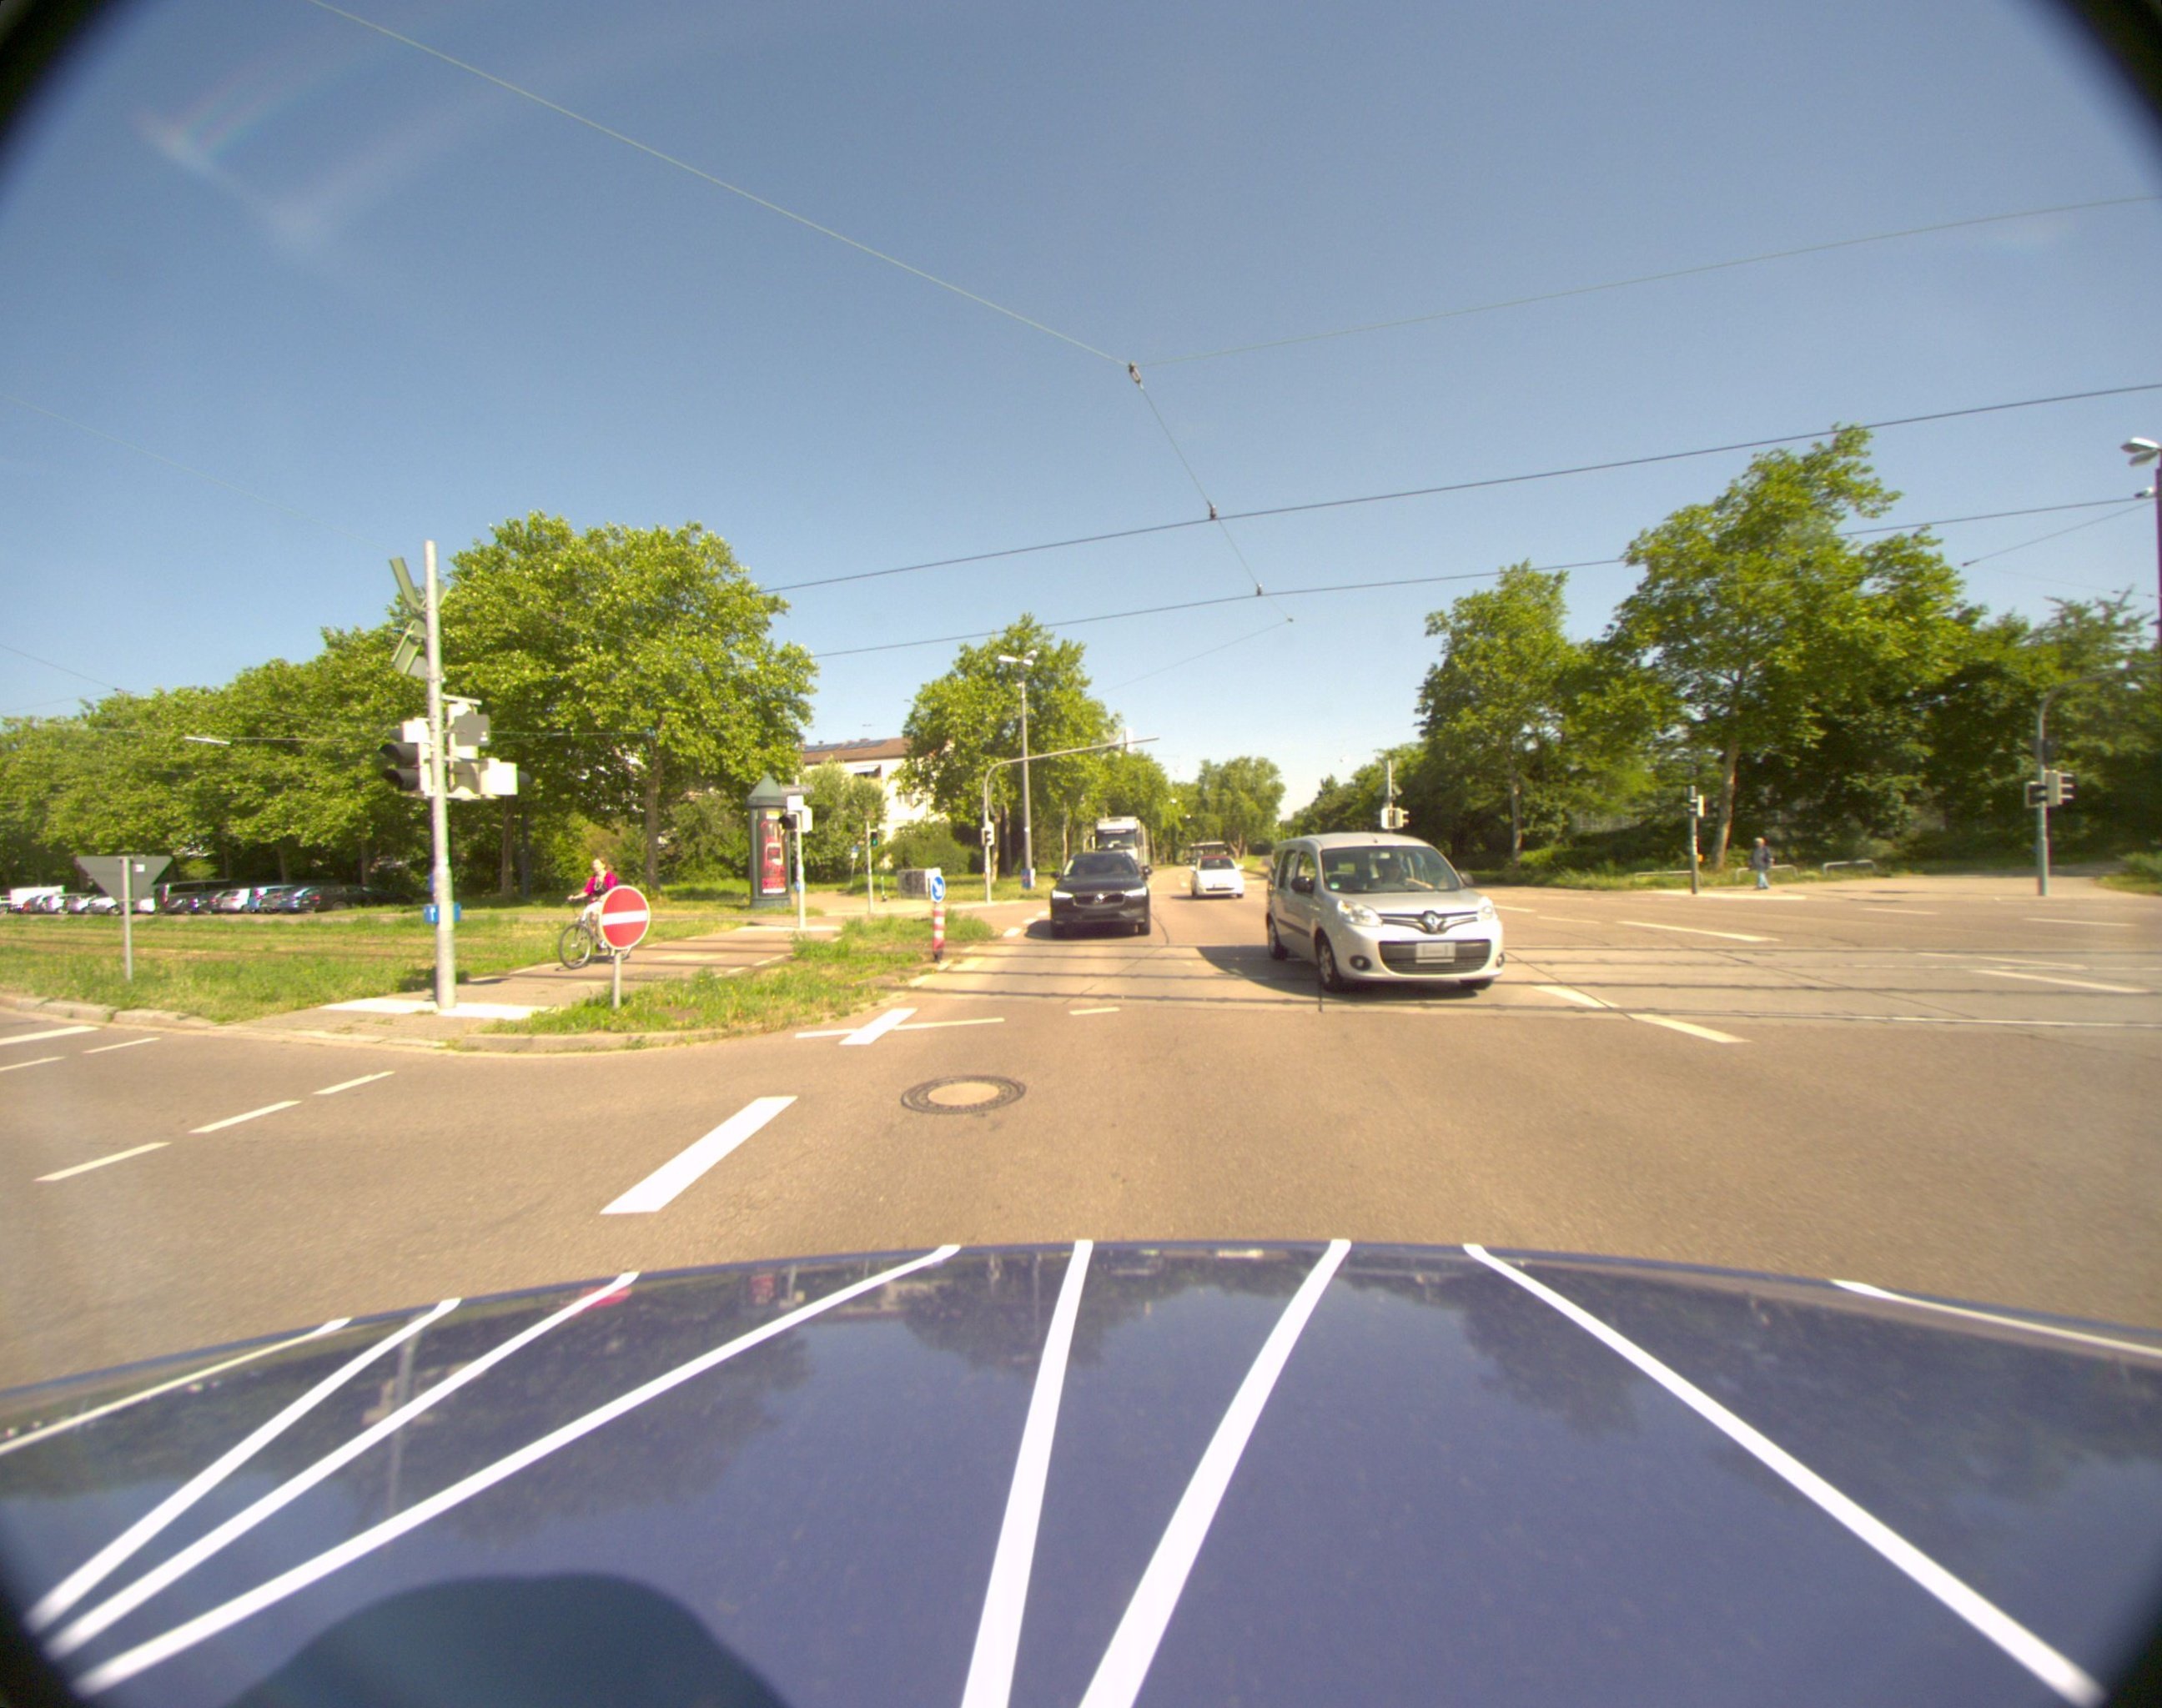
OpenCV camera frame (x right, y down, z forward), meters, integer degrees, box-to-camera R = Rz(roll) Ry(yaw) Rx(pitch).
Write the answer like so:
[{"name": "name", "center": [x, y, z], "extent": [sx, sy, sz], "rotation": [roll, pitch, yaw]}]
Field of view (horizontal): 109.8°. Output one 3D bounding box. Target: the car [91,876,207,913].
[{"name": "car", "center": [-64.579, 2.763, 52.778], "extent": [1.996, 2.196, 4.595], "rotation": [-2, 0, 17]}]

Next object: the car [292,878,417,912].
[{"name": "car", "center": [-38.683, 2.155, 40.621], "extent": [1.996, 1.482, 4.359], "rotation": [-2, 1, 17]}]

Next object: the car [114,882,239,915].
[{"name": "car", "center": [-54.329, 2.634, 45.771], "extent": [1.996, 1.623, 4.360], "rotation": [-2, 0, 17]}]

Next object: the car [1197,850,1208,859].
[{"name": "car", "center": [30.062, 0.168, 188.465], "extent": [1.996, 2.002, 4.005], "rotation": [-2, 0, 18]}]

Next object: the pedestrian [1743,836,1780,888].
[{"name": "pedestrian", "center": [20.553, 0.233, 22.961], "extent": [0.607, 1.525, 0.568], "rotation": [-2, 1, -1]}]

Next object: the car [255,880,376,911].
[{"name": "car", "center": [-43.612, 2.327, 43.421], "extent": [1.996, 1.482, 4.360], "rotation": [-2, 0, 17]}]

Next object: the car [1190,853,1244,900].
[{"name": "car", "center": [4.865, 0.745, 27.623], "extent": [1.688, 1.482, 4.377], "rotation": [-2, 0, 7]}]

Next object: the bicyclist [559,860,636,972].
[{"name": "bicyclist", "center": [-8.023, 1.007, 12.647], "extent": [0.702, 1.776, 0.810], "rotation": [-2, 1, -3]}]

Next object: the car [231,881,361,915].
[{"name": "car", "center": [-42.085, 2.341, 40.870], "extent": [1.996, 1.482, 4.360], "rotation": [-2, 0, 17]}]

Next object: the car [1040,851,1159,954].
[{"name": "car", "center": [0.370, 0.802, 15.078], "extent": [1.904, 1.606, 4.873], "rotation": [-3, 0, 2]}]

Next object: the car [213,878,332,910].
[{"name": "car", "center": [-48.206, 2.362, 45.440], "extent": [1.996, 1.623, 4.360], "rotation": [-2, 0, 17]}]

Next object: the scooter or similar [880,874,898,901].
[{"name": "scooter or similar", "center": [-8.820, 1.545, 34.883], "extent": [0.517, 1.135, 1.443], "rotation": [-4, 2, -22]}]

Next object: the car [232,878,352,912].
[{"name": "car", "center": [-46.123, 2.359, 44.558], "extent": [1.996, 1.623, 4.360], "rotation": [-3, 0, 17]}]

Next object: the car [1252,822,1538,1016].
[{"name": "car", "center": [3.514, 0.625, 9.503], "extent": [1.876, 1.829, 4.376], "rotation": [-2, 0, 2]}]

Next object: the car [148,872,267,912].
[{"name": "car", "center": [-56.398, 2.431, 49.177], "extent": [1.995, 2.276, 4.596], "rotation": [-2, 1, 22]}]

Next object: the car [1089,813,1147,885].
[{"name": "car", "center": [2.326, -0.299, 44.943], "extent": [2.901, 3.898, 7.144], "rotation": [-1, 1, 7]}]

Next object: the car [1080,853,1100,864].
[{"name": "car", "center": [1.260, 0.605, 108.367], "extent": [1.504, 1.364, 4.095], "rotation": [-2, 0, 21]}]

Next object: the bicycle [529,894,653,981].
[{"name": "bicycle", "center": [-8.016, 1.318, 12.560], "extent": [0.693, 1.178, 2.124], "rotation": [-2, 0, -2]}]
